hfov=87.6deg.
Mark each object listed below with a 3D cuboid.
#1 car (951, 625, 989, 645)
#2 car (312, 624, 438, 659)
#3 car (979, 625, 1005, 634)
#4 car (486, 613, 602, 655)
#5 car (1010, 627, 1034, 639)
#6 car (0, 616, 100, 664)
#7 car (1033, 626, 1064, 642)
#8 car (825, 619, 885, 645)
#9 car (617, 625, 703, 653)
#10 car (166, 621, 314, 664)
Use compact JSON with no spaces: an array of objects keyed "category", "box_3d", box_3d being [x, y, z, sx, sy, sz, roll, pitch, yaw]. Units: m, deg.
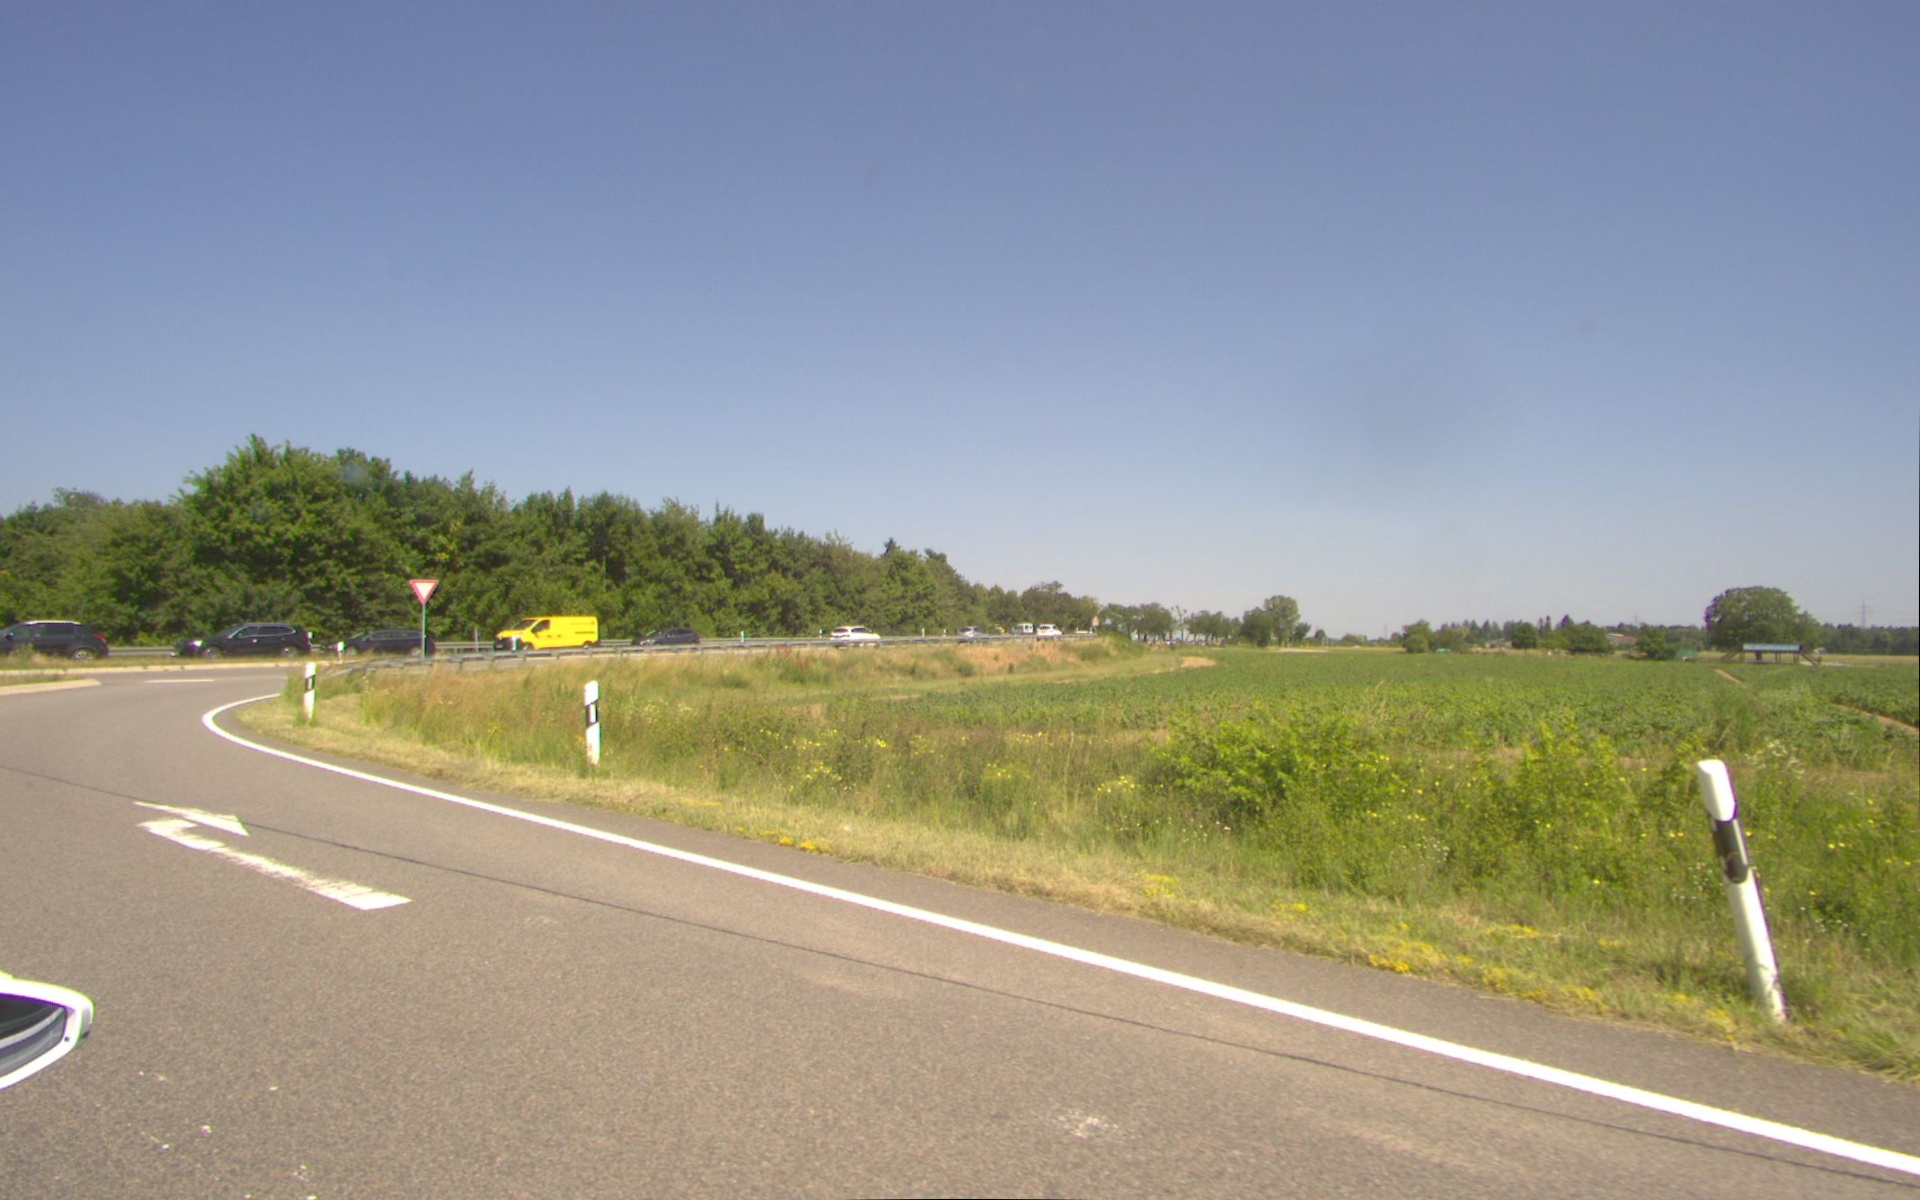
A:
[{"category":"car","box_3d":[0.837,2.896,82.661,1.712,1.587,3.682,-1,-2,26]},{"category":"car","box_3d":[-26.614,1.868,45.697,1.831,1.533,4.664,-1,-2,39]},{"category":"car","box_3d":[4.589,4.267,144.472,1.696,1.204,3.972,0,-2,-37]},{"category":"car","box_3d":[-21.119,1.736,51.117,1.972,2.039,5.311,-1,-2,33]},{"category":"car","box_3d":[8.406,4.434,135.775,1.689,1.589,3.990,0,-2,-21]},{"category":"car","box_3d":[-33.560,1.437,35.821,1.818,1.661,3.972,-1,-2,38]},{"category":"car","box_3d":[8.885,3.373,100.124,1.710,1.587,4.472,-1,-2,23]},{"category":"car","box_3d":[-6.930,2.102,66.499,1.713,1.587,4.463,-1,0,29]},{"category":"car","box_3d":[-17.160,2.221,57.553,1.828,1.533,4.671,-1,-2,34]},{"category":"car","box_3d":[-28.608,1.678,39.934,1.744,1.618,4.475,-1,-2,35]}]
